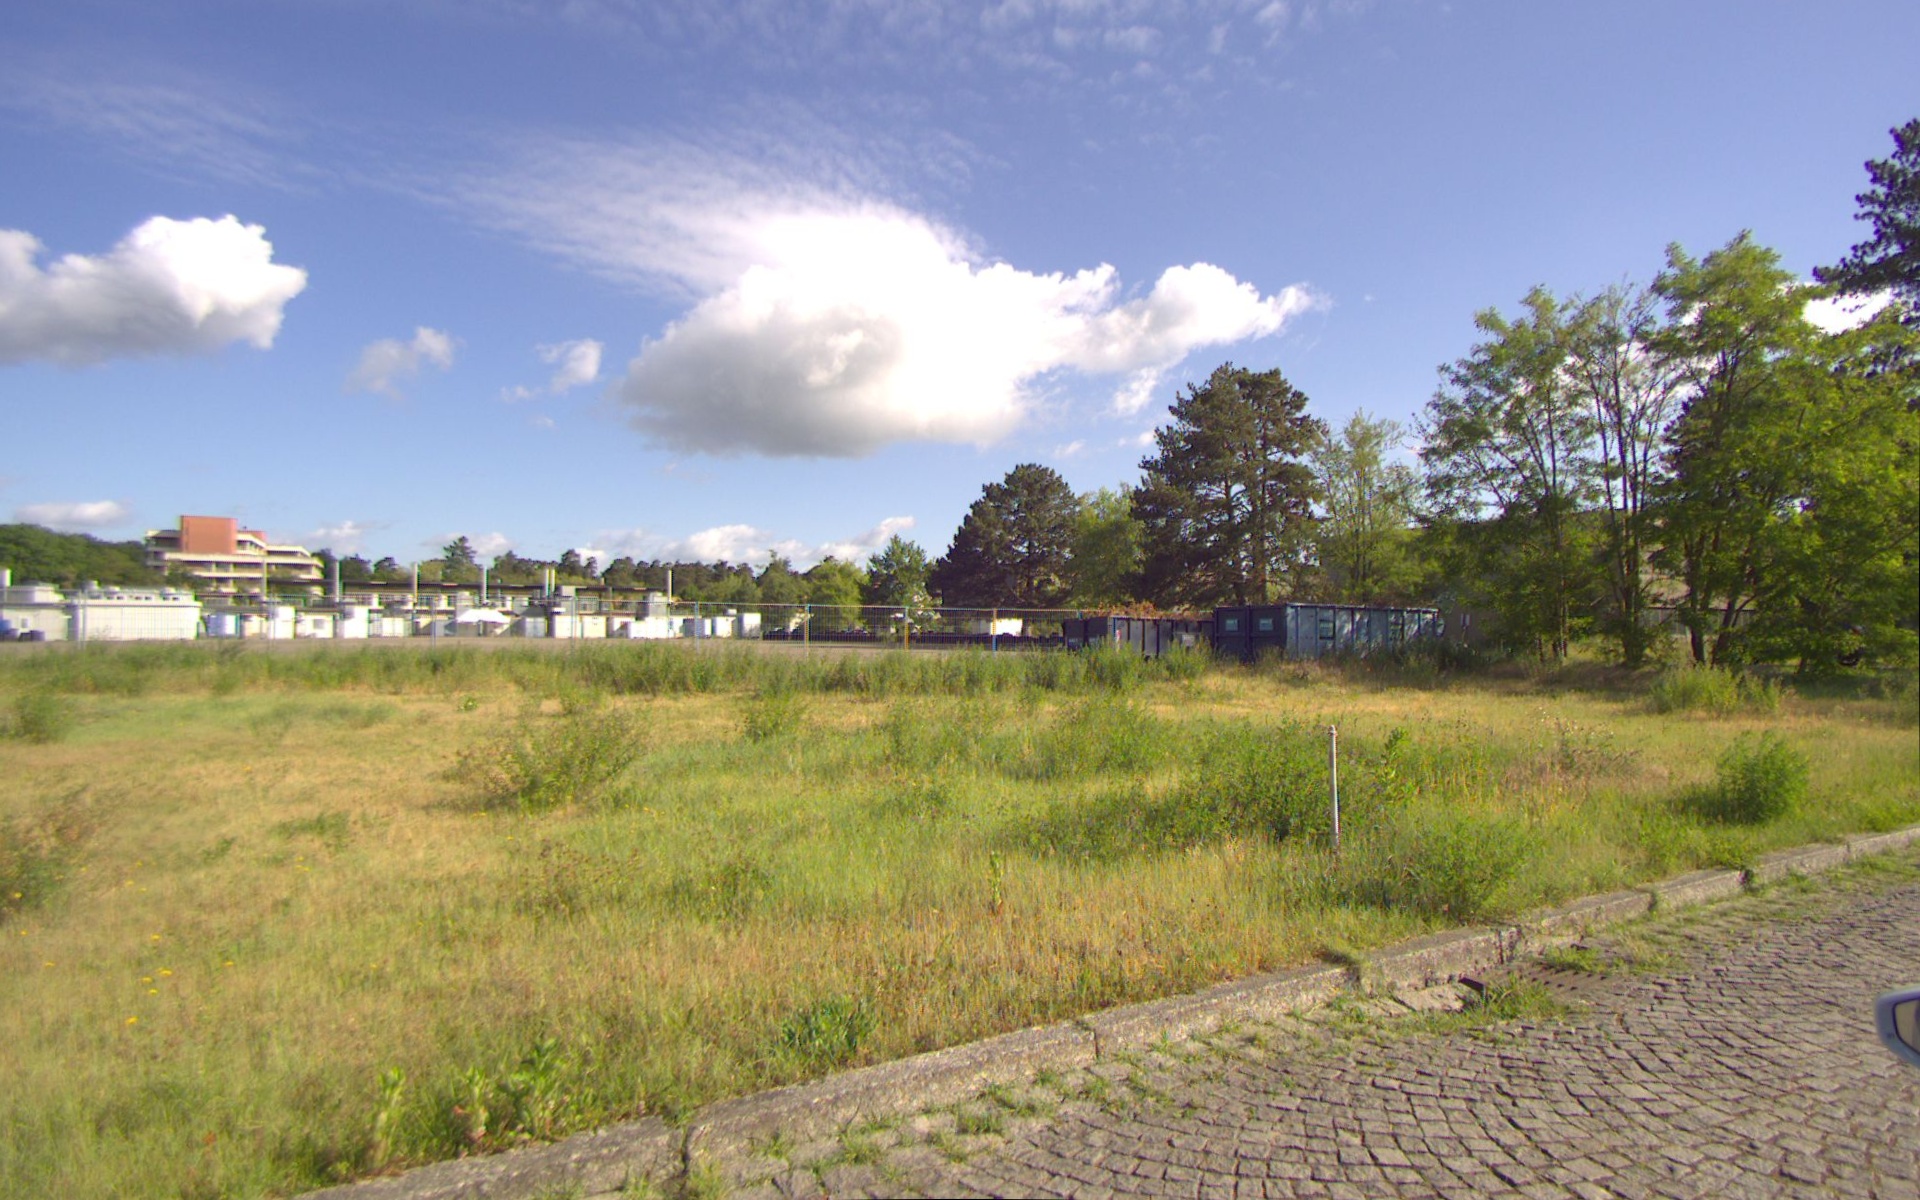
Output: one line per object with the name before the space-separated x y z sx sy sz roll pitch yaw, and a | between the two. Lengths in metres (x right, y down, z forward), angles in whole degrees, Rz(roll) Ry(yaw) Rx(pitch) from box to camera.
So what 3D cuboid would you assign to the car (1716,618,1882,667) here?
car | 29.863 1.491 35.878 1.985 1.630 4.127 1 -2 -28
